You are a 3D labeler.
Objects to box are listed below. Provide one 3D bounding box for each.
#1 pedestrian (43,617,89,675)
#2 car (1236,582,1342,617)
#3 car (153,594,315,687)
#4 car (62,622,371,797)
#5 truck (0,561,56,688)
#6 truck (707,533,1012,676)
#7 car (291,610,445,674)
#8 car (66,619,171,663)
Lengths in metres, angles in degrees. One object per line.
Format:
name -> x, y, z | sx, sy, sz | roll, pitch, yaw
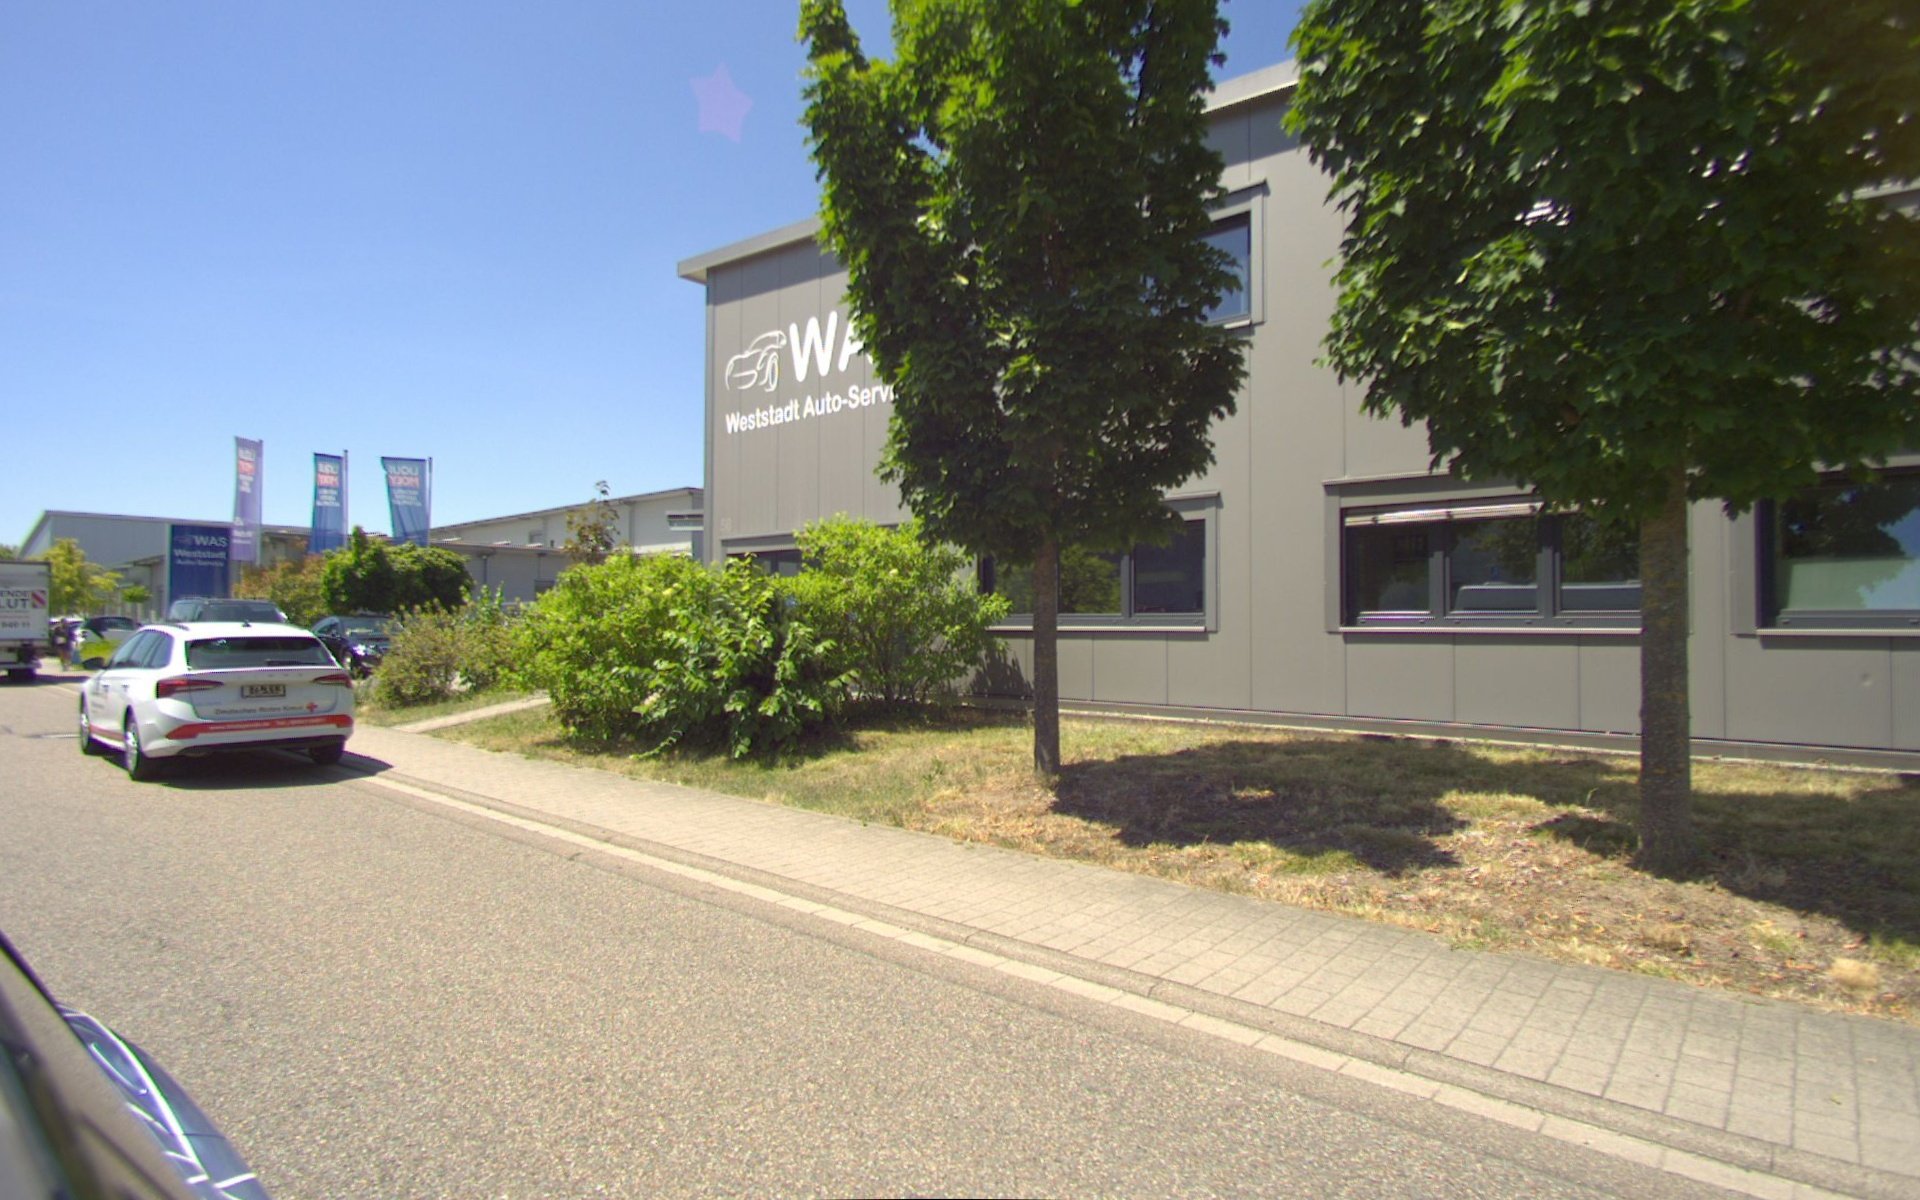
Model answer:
pedestrian -> -25.350, 1.283, 28.688 | 0.785, 1.586, 0.889 | -2, -1, 42
car -> 14.460, 0.015, 44.713 | 1.758, 1.433, 4.427 | 1, -2, -29
car -> -17.230, 0.903, 23.920 | 5.215, 1.971, 1.973 | -1, -2, 41
car -> -8.001, 0.973, 10.721 | 4.489, 1.469, 1.712 | -1, -2, 41
truck -> -24.357, 0.588, 24.884 | 6.413, 2.882, 2.336 | -1, -4, 42
truck -> -2.767, 0.108, 27.963 | 7.924, 3.584, 2.595 | -1, -1, -20
car -> -14.893, 0.995, 25.350 | 4.767, 1.427, 1.911 | -1, 0, 41
car -> -30.759, 1.484, 37.037 | 1.534, 1.529, 2.713 | -1, -2, 40
